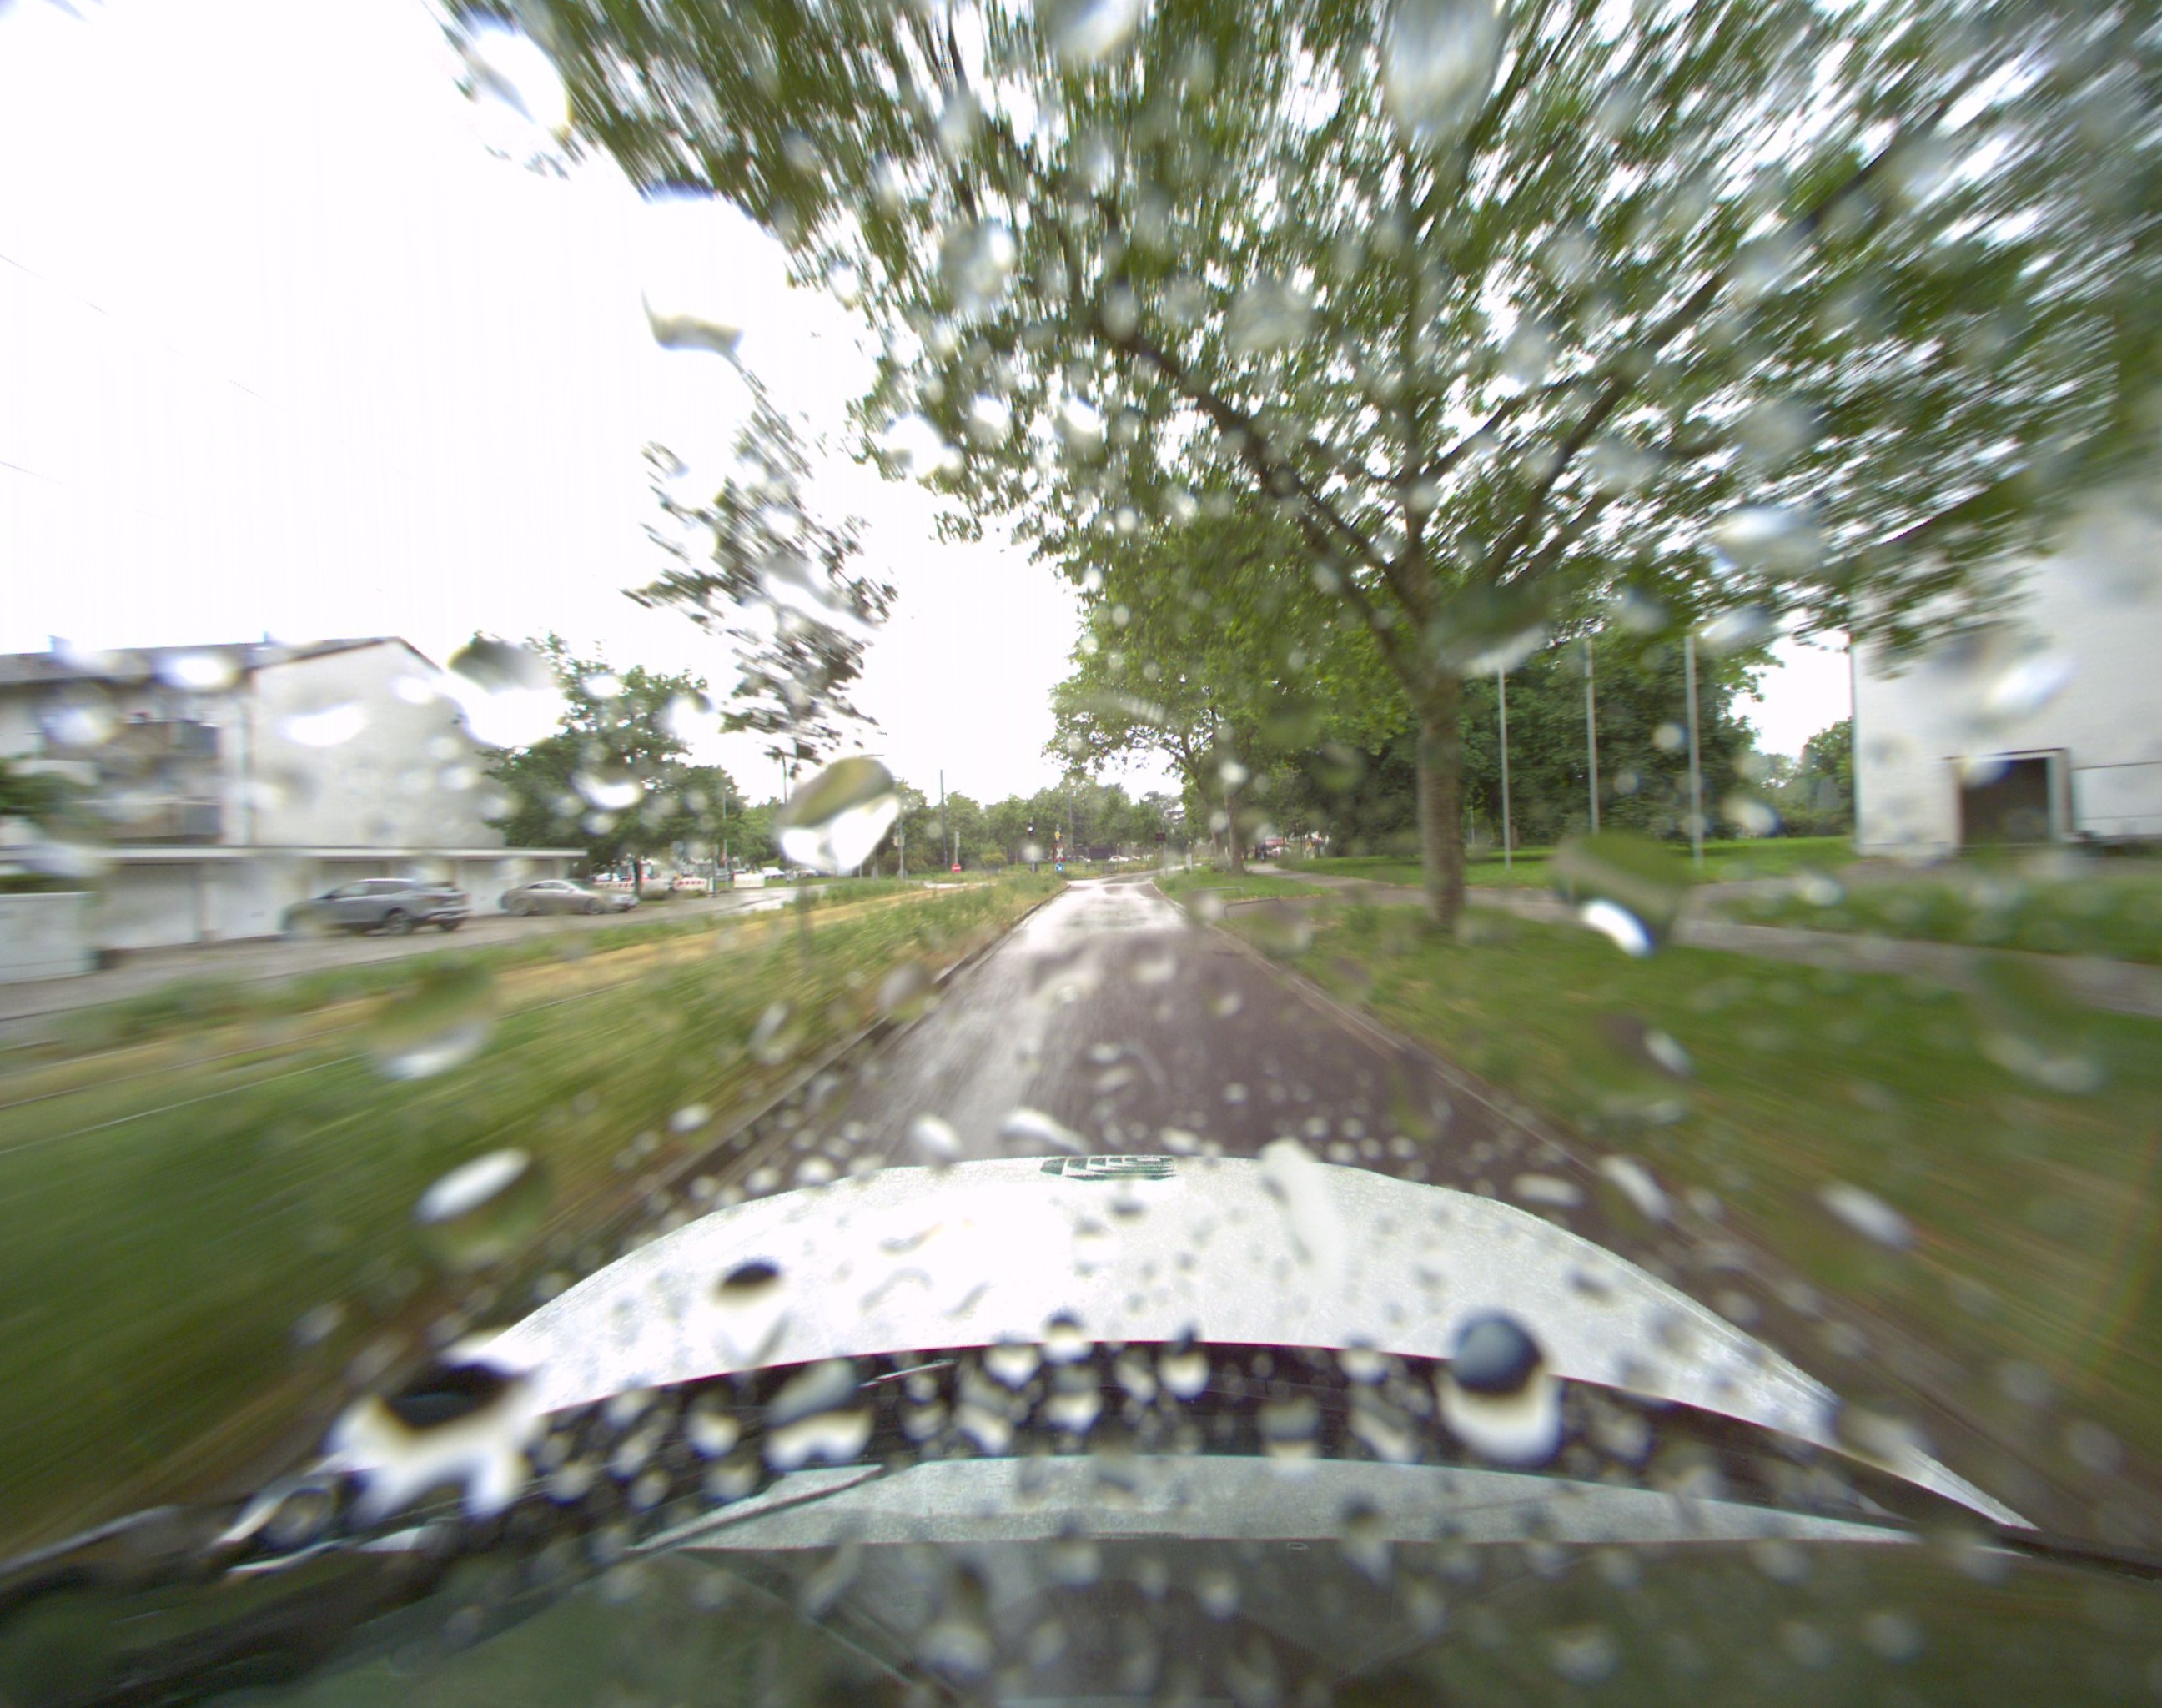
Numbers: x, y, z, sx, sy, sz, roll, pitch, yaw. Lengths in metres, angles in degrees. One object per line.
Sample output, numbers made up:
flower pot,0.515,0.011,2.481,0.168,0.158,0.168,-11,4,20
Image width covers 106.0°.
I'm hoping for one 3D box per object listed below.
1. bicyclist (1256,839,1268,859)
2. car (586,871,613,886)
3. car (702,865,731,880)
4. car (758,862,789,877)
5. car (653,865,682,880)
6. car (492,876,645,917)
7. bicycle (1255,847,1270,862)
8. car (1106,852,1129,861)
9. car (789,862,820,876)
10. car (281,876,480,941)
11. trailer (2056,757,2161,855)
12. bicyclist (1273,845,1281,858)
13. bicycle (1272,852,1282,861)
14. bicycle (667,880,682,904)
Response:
bicyclist,15.636,-0.422,70.214,0.704,1.721,0.963,-2,1,27
car,-47.093,2.420,79.698,1.674,1.325,3.698,-2,0,-40
car,-34.159,1.743,76.300,1.673,1.249,3.700,-3,0,-37
car,-29.634,1.506,78.386,1.674,1.249,3.698,-3,0,-40
car,-37.071,1.663,72.988,1.673,1.249,3.700,-3,0,-37
car,-19.683,1.603,31.396,4.707,1.365,1.849,-1,0,2
bicycle,15.644,0.047,70.197,0.704,1.142,1.984,-2,1,28
car,7.112,0.541,159.121,4.032,1.499,1.660,-3,-1,18
car,-27.449,1.504,80.751,1.674,1.249,3.698,-3,0,-40
car,-19.902,1.519,23.264,3.974,1.576,1.893,-2,0,0
trailer,27.164,-1.233,21.350,4.040,2.308,1.870,-3,0,-38
bicyclist,16.728,-0.202,69.661,0.482,1.038,0.595,-3,0,27
bicycle,16.761,0.174,69.697,0.482,0.708,1.466,-3,1,27
bicycle,-18.595,1.747,37.295,0.482,1.019,1.828,1,0,-23
